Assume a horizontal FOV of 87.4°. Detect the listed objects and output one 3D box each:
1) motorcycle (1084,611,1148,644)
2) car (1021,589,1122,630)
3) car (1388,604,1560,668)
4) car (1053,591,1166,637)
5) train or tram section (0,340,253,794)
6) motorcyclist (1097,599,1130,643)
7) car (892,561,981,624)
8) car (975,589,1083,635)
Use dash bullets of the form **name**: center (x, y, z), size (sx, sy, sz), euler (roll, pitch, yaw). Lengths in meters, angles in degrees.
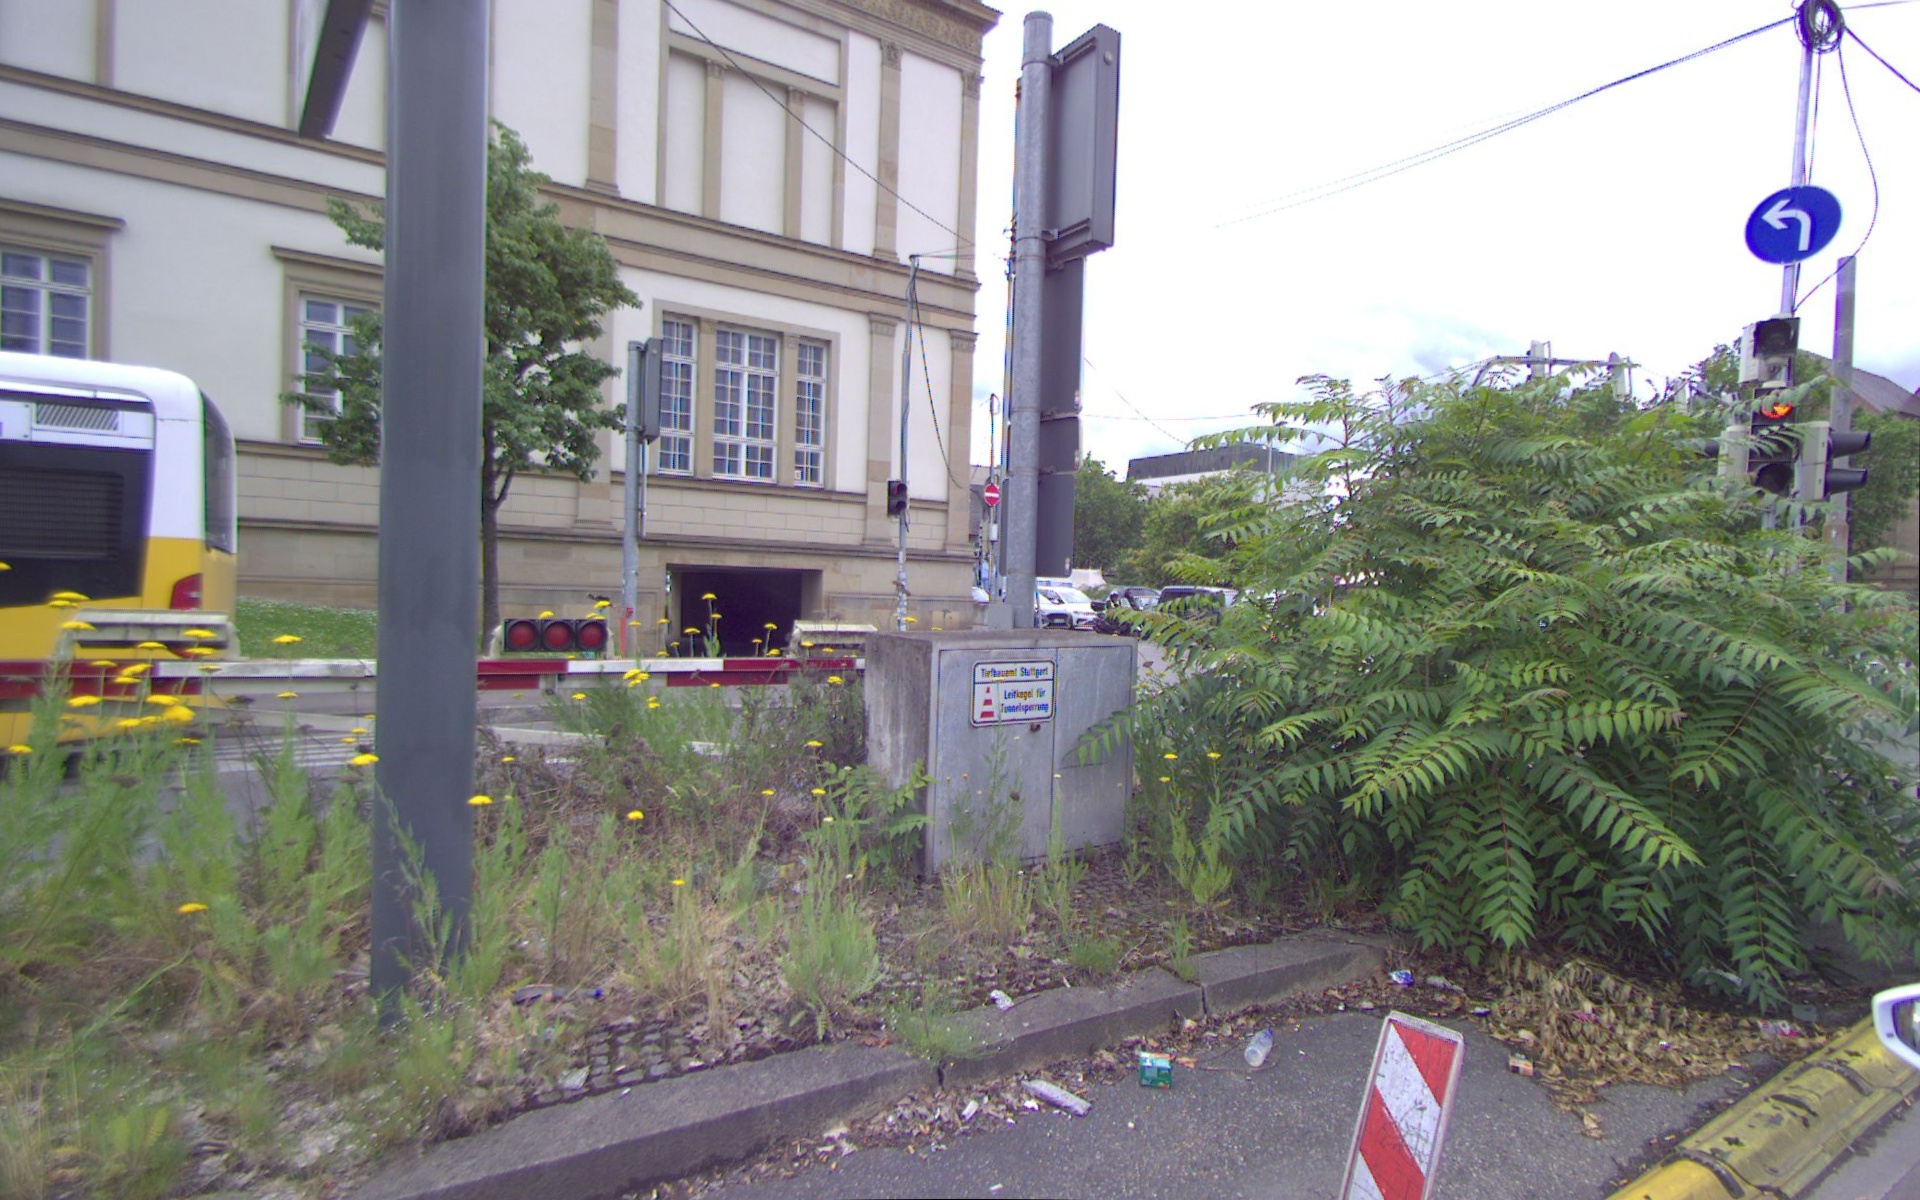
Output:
- **motorcycle**: center (5.058, 0.871, 32.708), size (0.690, 0.953, 2.335), euler (2, 1, -32)
- **car**: center (4.476, 0.361, 40.870), size (1.978, 1.568, 4.085), euler (2, 0, -31)
- **car**: center (16.205, 1.073, 31.811), size (4.442, 1.783, 1.988), euler (2, 0, 44)
- **car**: center (5.494, 0.500, 37.406), size (1.978, 1.568, 4.084), euler (2, 0, -32)
- **train or tram section**: center (-10.201, -0.275, 6.251), size (9.229, 3.112, 2.680), euler (1, -1, -31)
- **motorcyclist**: center (4.998, 0.691, 32.811), size (0.690, 1.398, 0.784), euler (2, 0, -33)
- **car**: center (-1.077, -0.331, 43.736), size (1.978, 2.585, 4.083), euler (2, 0, -32)
- **car**: center (2.519, 0.425, 37.637), size (1.978, 1.568, 4.083), euler (2, 0, -32)
